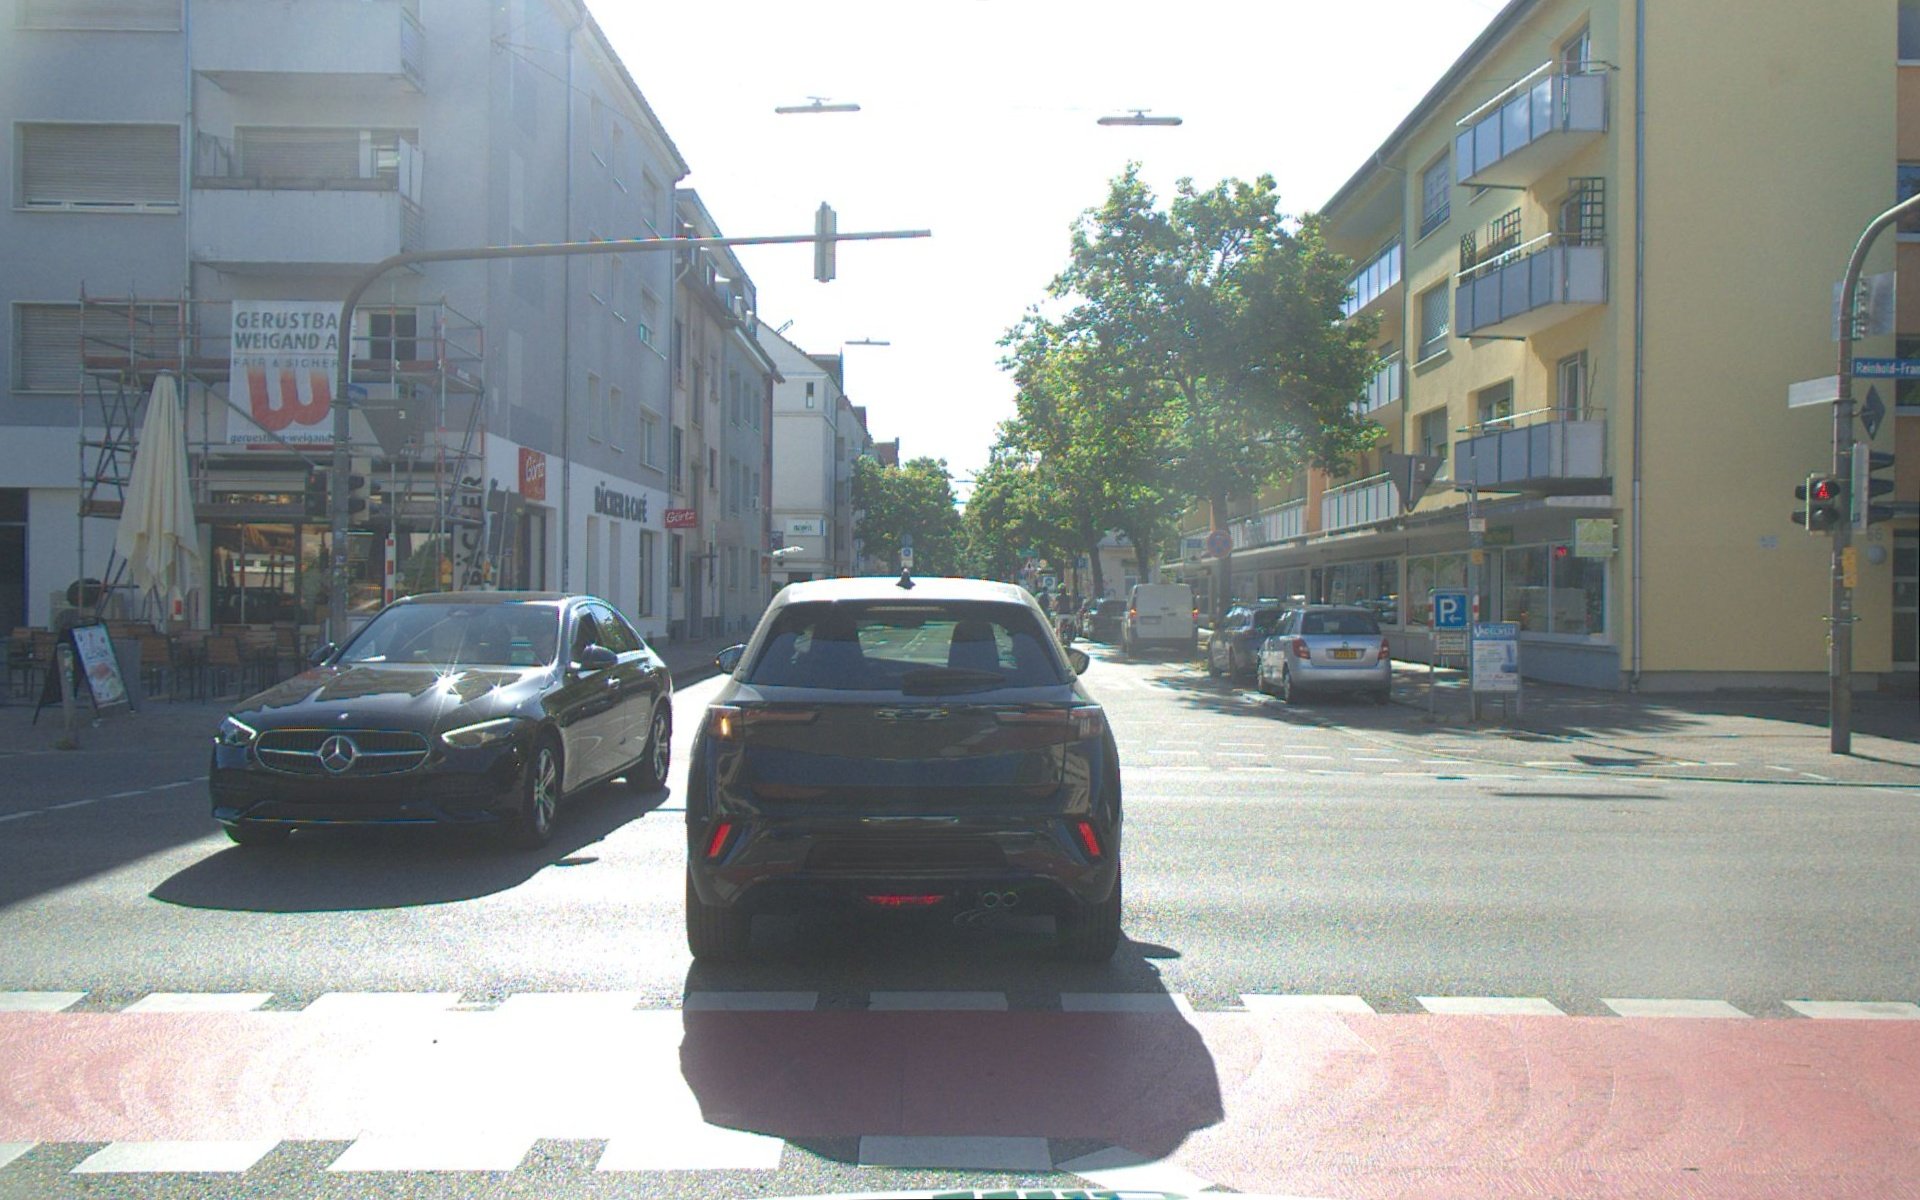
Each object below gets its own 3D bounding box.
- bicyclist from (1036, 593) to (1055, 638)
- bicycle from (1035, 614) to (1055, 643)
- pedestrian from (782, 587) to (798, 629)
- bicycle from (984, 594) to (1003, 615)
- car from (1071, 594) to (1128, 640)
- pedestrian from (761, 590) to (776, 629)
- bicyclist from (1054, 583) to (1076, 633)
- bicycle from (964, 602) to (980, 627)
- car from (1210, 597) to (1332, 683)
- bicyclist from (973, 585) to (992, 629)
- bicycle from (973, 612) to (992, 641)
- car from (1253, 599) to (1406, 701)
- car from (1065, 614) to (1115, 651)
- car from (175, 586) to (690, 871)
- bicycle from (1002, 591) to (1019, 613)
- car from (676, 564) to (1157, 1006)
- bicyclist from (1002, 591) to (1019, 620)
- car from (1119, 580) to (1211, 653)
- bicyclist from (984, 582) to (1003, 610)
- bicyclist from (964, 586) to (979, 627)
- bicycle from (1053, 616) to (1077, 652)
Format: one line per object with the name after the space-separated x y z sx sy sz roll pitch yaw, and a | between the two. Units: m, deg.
2.688 0.489 52.093 0.535 1.406 0.823 0 0 1 | bicyclist
2.676 0.898 52.133 0.535 0.881 1.876 0 0 1 | bicycle
-6.525 0.314 63.456 0.566 1.610 0.707 0 0 -6 | pedestrian
1.620 0.195 80.668 0.839 0.961 2.307 3 0 -1 | bicycle
4.807 0.559 57.249 1.677 1.509 3.381 0 0 0 | car
-7.335 0.353 63.321 0.566 1.493 0.702 0 0 -6 | pedestrian
2.745 0.203 43.246 0.535 1.284 0.803 0 0 1 | bicyclist
0.504 0.599 69.720 0.619 1.059 1.795 0 0 -1 | bicycle
5.838 0.716 31.346 1.677 1.509 3.381 0 0 0 | car
0.714 0.219 52.930 0.576 1.406 0.823 0 0 1 | bicyclist
0.715 0.836 52.876 0.607 0.881 1.876 0 0 1 | bicycle
5.868 0.753 26.629 1.677 1.509 3.480 0 0 0 | car
4.973 1.230 63.663 1.677 1.337 3.381 0 0 0 | car
-3.094 0.654 10.771 1.767 1.437 4.427 -1 0 2 | car
2.149 0.077 70.386 0.677 0.881 1.876 0 0 1 | bicycle
-0.171 0.674 7.978 1.726 1.586 3.999 0 0 -1 | car
2.160 0.241 70.631 0.677 1.214 0.595 0 0 1 | bicyclist
5.529 0.406 45.084 2.004 1.879 4.584 0 0 1 | car
1.628 -0.184 80.661 0.839 1.337 1.210 3 0 -1 | bicyclist
0.485 0.271 69.339 0.619 1.698 1.050 0 0 -1 | bicyclist
2.749 0.884 43.269 0.535 0.881 1.876 0 0 1 | bicycle
